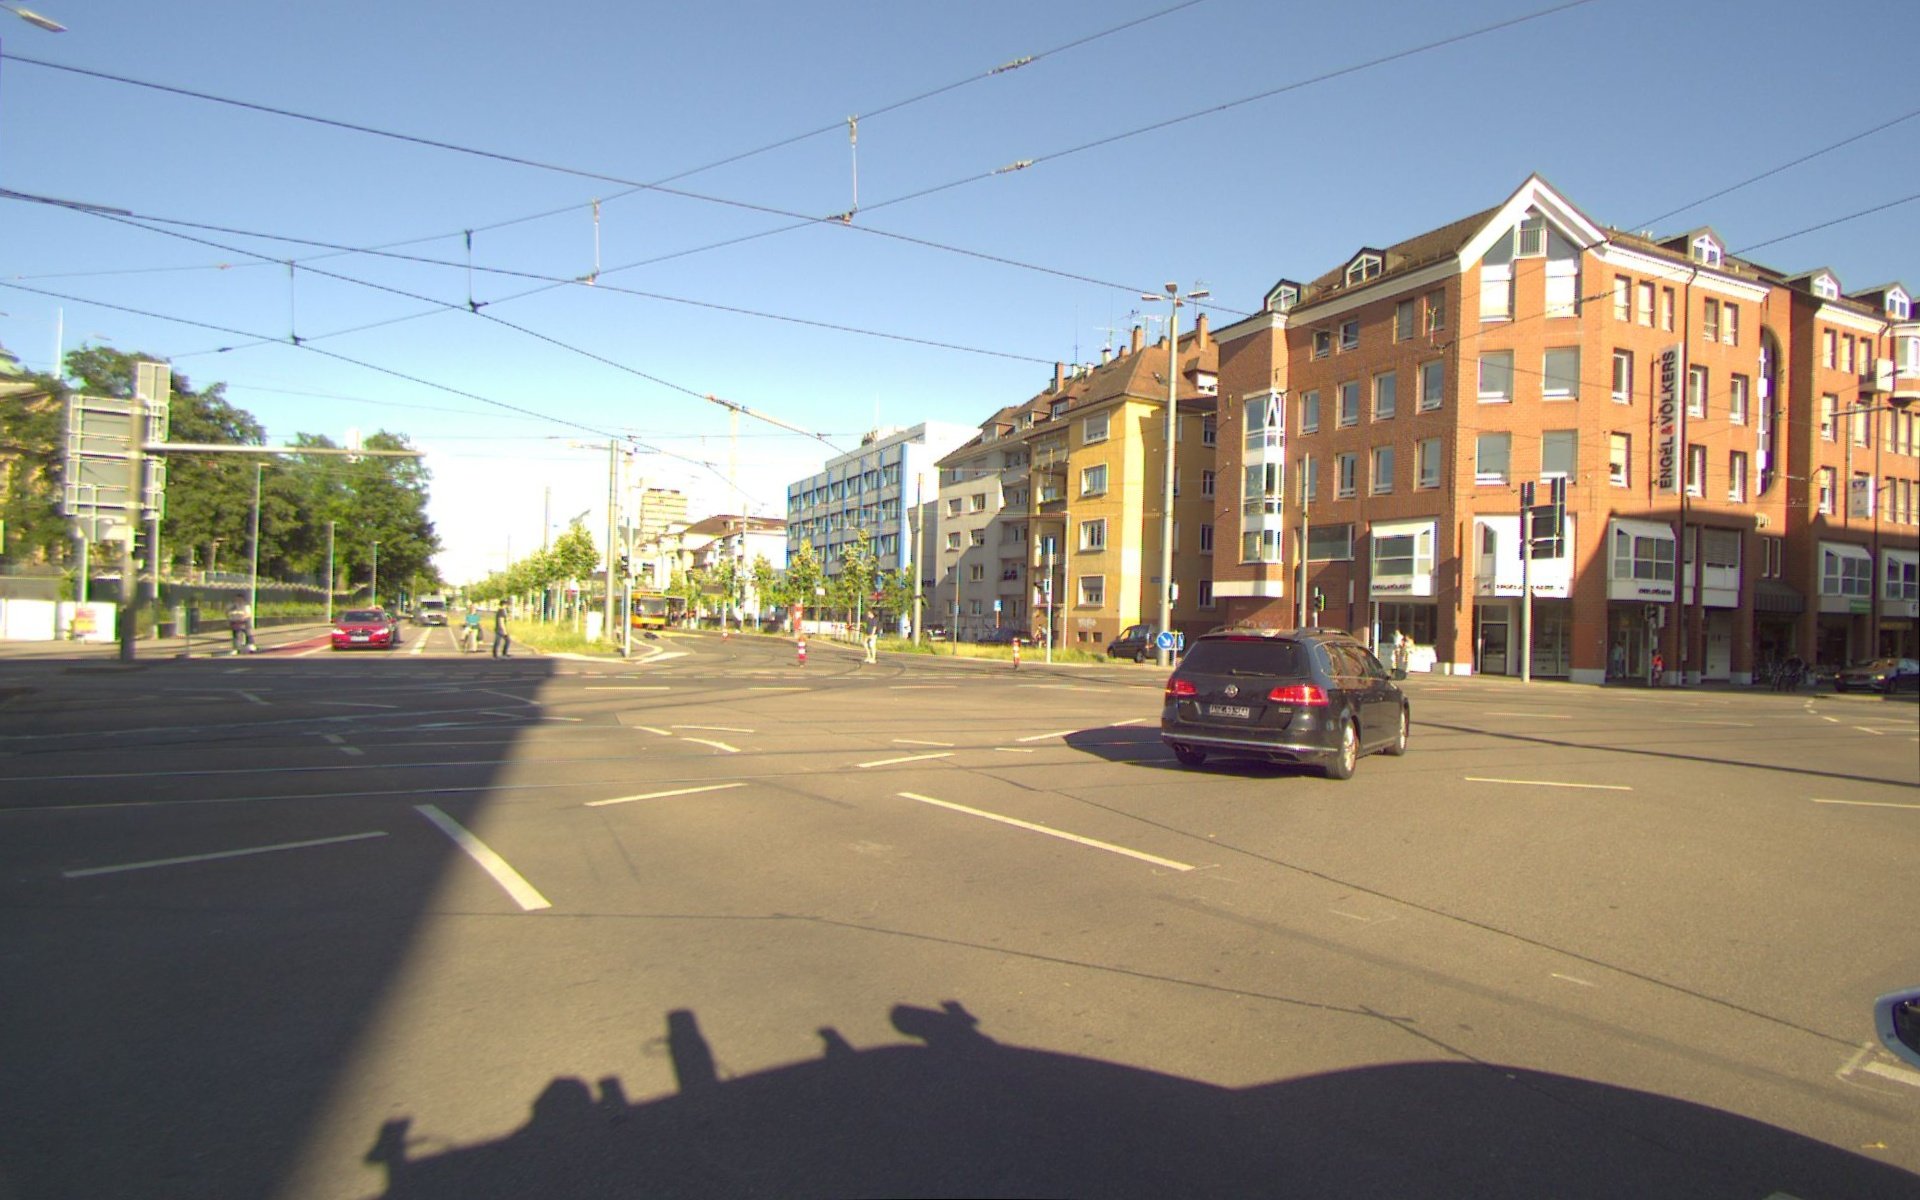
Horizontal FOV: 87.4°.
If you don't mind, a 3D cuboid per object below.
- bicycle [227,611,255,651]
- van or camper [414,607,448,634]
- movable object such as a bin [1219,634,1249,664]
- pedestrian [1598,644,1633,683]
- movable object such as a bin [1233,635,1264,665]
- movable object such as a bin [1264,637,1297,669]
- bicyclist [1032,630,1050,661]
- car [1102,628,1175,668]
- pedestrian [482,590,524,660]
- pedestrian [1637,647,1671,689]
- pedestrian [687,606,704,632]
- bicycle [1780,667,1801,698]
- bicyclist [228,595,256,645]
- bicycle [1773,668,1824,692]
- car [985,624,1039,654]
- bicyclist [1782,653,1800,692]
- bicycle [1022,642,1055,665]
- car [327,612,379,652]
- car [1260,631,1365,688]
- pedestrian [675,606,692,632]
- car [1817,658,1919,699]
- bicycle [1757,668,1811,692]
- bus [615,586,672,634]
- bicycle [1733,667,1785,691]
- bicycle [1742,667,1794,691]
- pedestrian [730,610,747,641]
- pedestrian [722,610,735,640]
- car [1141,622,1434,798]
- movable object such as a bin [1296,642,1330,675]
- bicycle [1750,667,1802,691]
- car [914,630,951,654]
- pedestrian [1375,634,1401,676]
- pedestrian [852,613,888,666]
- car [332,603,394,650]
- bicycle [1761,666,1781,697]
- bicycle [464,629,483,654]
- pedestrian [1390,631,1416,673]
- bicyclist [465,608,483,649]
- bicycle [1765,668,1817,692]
[{"bbox_3d":[-21.933,0.946,30.671,0.606,1.148,1.486,3,-1,-34],"label":"bicycle"},{"bbox_3d":[-44.321,1.698,84.101,1.961,2.027,4.313,3,-1,-35],"label":"van or camper"},{"bbox_3d":[14.016,2.501,51.385,1.083,1.455,0.991,3,-1,-30],"label":"movable object such as a bin"},{"bbox_3d":[28.475,2.752,43.642,0.847,1.589,0.887,3,-1,-2],"label":"pedestrian"},{"bbox_3d":[14.535,2.516,50.552,1.083,1.455,0.991,3,-1,-30],"label":"movable object such as a bin"},{"bbox_3d":[15.467,2.566,48.463,1.083,1.455,0.991,3,-1,-30],"label":"movable object such as a bin"},{"bbox_3d":[4.834,2.715,60.005,0.610,1.795,0.819,3,-1,-44],"label":"bicyclist"},{"bbox_3d":[8.237,2.186,46.537,1.555,1.639,3.764,3,-1,-21],"label":"car"},{"bbox_3d":[-13.163,0.718,28.940,0.782,1.959,0.725,2,-1,0],"label":"pedestrian"},{"bbox_3d":[27.856,2.731,40.332,0.766,1.615,0.710,3,2,-23],"label":"pedestrian"},{"bbox_3d":[-21.219,1.510,80.552,0.915,2.036,1.001,3,-1,-36],"label":"pedestrian"},{"bbox_3d":[33.307,3.295,40.295,0.484,1.173,1.677,2,-1,35],"label":"bicycle"},{"bbox_3d":[-21.972,0.605,30.746,0.604,1.513,0.610,3,-1,-35],"label":"bicyclist"},{"bbox_3d":[37.635,3.593,45.119,0.514,0.912,1.706,3,-1,-24],"label":"bicycle"},{"bbox_3d":[2.958,2.212,57.676,1.707,1.571,3.453,3,-1,-24],"label":"car"},{"bbox_3d":[33.264,2.889,40.205,0.475,1.490,0.717,2,-1,35],"label":"bicyclist"},{"bbox_3d":[4.707,3.216,60.110,0.625,1.239,2.013,3,-1,-45],"label":"bicycle"},{"bbox_3d":[-25.267,1.308,41.911,1.555,1.491,3.686,3,-1,-27],"label":"car"},{"bbox_3d":[11.479,1.902,32.953,1.811,1.656,3.482,3,-1,-8],"label":"car"},{"bbox_3d":[-22.022,1.490,79.941,0.915,2.036,1.001,3,-1,-36],"label":"pedestrian"},{"bbox_3d":[36.402,3.129,39.964,3.917,1.473,1.815,3,-3,-20],"label":"car"},{"bbox_3d":[36.593,3.539,44.636,0.578,0.912,1.754,3,-1,-24],"label":"bicycle"},{"bbox_3d":[-26.149,0.748,82.592,2.914,3.610,9.364,3,-1,-26],"label":"bus"},{"bbox_3d":[34.894,3.438,43.900,0.514,0.912,1.706,3,-1,-24],"label":"bicycle"},{"bbox_3d":[35.491,3.468,44.139,0.514,0.912,1.706,3,-1,-24],"label":"bicycle"},{"bbox_3d":[-15.387,1.768,69.756,0.795,2.036,0.799,3,-1,-36],"label":"pedestrian"},{"bbox_3d":[-16.134,1.736,69.978,0.788,2.036,0.806,3,-1,-11],"label":"pedestrian"},{"bbox_3d":[3.790,1.033,11.042,1.742,1.463,4.513,1,-1,36],"label":"car"},{"bbox_3d":[16.316,2.687,46.412,1.083,1.455,0.991,3,-1,-30],"label":"movable object such as a bin"},{"bbox_3d":[36.044,3.499,44.398,0.514,0.912,1.706,3,-1,-24],"label":"bicycle"},{"bbox_3d":[-2.164,3.228,77.716,1.544,1.639,3.295,3,-1,-27],"label":"car"},{"bbox_3d":[18.347,2.355,43.085,0.703,1.750,0.685,3,-1,-30],"label":"pedestrian"},{"bbox_3d":[-3.017,1.327,33.638,0.918,1.733,0.692,3,-1,-27],"label":"pedestrian"},{"bbox_3d":[-21.302,0.955,35.912,1.762,1.529,4.528,3,-3,-30],"label":"car"},{"bbox_3d":[32.821,3.273,40.673,0.484,1.173,1.711,2,-1,35],"label":"bicycle"},{"bbox_3d":[-16.194,1.373,33.415,0.317,0.774,1.163,3,-1,-36],"label":"bicycle"},{"bbox_3d":[18.712,2.192,42.428,0.703,1.750,0.685,3,-1,-30],"label":"pedestrian"},{"bbox_3d":[-16.184,0.942,33.429,0.396,1.333,0.455,3,-1,-37],"label":"bicyclist"},{"bbox_3d":[37.108,3.557,44.881,0.514,0.912,1.706,3,-1,-24],"label":"bicycle"}]
